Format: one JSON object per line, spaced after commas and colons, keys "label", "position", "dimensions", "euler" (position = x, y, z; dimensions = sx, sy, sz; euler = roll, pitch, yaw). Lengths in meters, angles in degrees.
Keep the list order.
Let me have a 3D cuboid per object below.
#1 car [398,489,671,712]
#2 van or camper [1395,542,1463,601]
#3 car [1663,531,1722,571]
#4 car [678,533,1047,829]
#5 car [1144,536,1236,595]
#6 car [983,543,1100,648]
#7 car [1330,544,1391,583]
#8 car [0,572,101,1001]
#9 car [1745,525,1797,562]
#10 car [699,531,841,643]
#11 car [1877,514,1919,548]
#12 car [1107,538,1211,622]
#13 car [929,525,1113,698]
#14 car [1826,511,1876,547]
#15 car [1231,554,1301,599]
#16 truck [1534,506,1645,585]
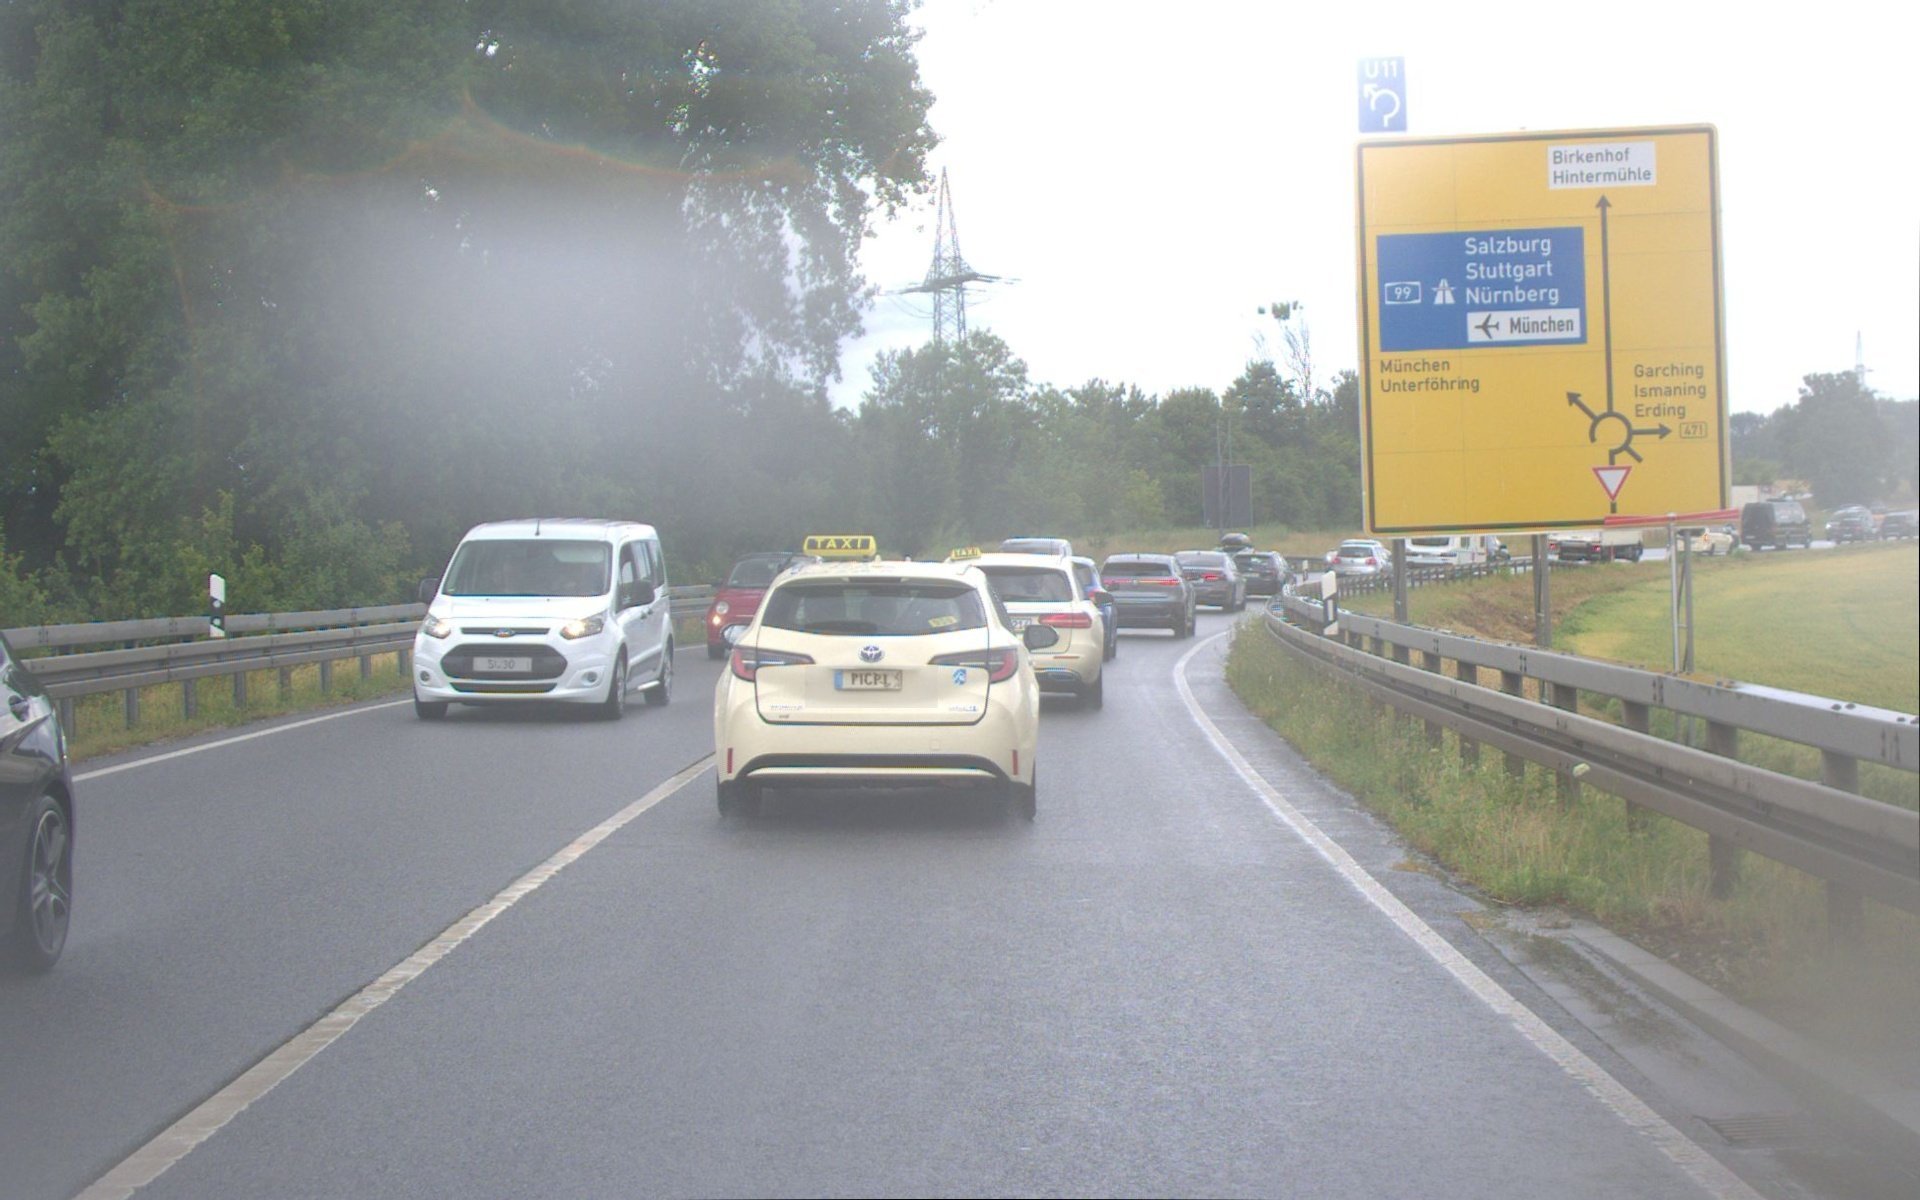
{"label": "car", "position": [-3.792, -0.052, 31.344], "dimensions": [1.861, 1.885, 4.490], "euler": [0, 1, 1]}
{"label": "van or camper", "position": [18.178, -1.106, 133.112], "dimensions": [1.995, 2.246, 3.997], "euler": [1, 0, 17]}
{"label": "car", "position": [38.126, -2.559, 178.803], "dimensions": [2.169, 2.007, 3.995], "euler": [1, 0, 25]}
{"label": "car", "position": [-0.459, 0.397, 20.027], "dimensions": [1.906, 1.532, 4.161], "euler": [0, 1, 2]}
{"label": "car", "position": [5.744, -0.839, 85.422], "dimensions": [1.661, 1.404, 3.902], "euler": [0, 0, 13]}
{"label": "car", "position": [1.142, -0.083, 49.301], "dimensions": [1.505, 1.432, 3.356], "euler": [1, 1, -1]}
{"label": "car", "position": [13.796, -1.261, 118.349], "dimensions": [1.484, 1.304, 3.474], "euler": [0, 1, 17]}
{"label": "car", "position": [-3.972, 0.613, 10.347], "dimensions": [1.696, 1.395, 4.332], "euler": [0, 1, 0]}
{"label": "car", "position": [44.678, -3.097, 189.419], "dimensions": [1.996, 2.007, 3.994], "euler": [1, 0, 25]}
{"label": "car", "position": [-2.671, -0.223, 49.039], "dimensions": [1.610, 1.481, 4.000], "euler": [0, 2, 3]}
{"label": "car", "position": [57.535, -4.208, 210.515], "dimensions": [1.996, 2.007, 3.994], "euler": [0, 0, 25]}
{"label": "car", "position": [3.612, -0.373, 61.999], "dimensions": [1.665, 1.459, 3.476], "euler": [0, 1, 7]}
{"label": "car", "position": [0.632, 0.084, 33.085], "dimensions": [1.578, 1.567, 3.681], "euler": [0, 1, 4]}
{"label": "car", "position": [52.558, -4.178, 202.760], "dimensions": [2.229, 2.007, 3.995], "euler": [1, 0, 24]}
{"label": "car", "position": [8.913, -0.690, 99.968], "dimensions": [1.483, 1.304, 3.474], "euler": [0, 1, 15]}
{"label": "truck", "position": [29.473, -2.519, 160.749], "dimensions": [3.144, 3.550, 7.511], "euler": [1, 0, 26]}
